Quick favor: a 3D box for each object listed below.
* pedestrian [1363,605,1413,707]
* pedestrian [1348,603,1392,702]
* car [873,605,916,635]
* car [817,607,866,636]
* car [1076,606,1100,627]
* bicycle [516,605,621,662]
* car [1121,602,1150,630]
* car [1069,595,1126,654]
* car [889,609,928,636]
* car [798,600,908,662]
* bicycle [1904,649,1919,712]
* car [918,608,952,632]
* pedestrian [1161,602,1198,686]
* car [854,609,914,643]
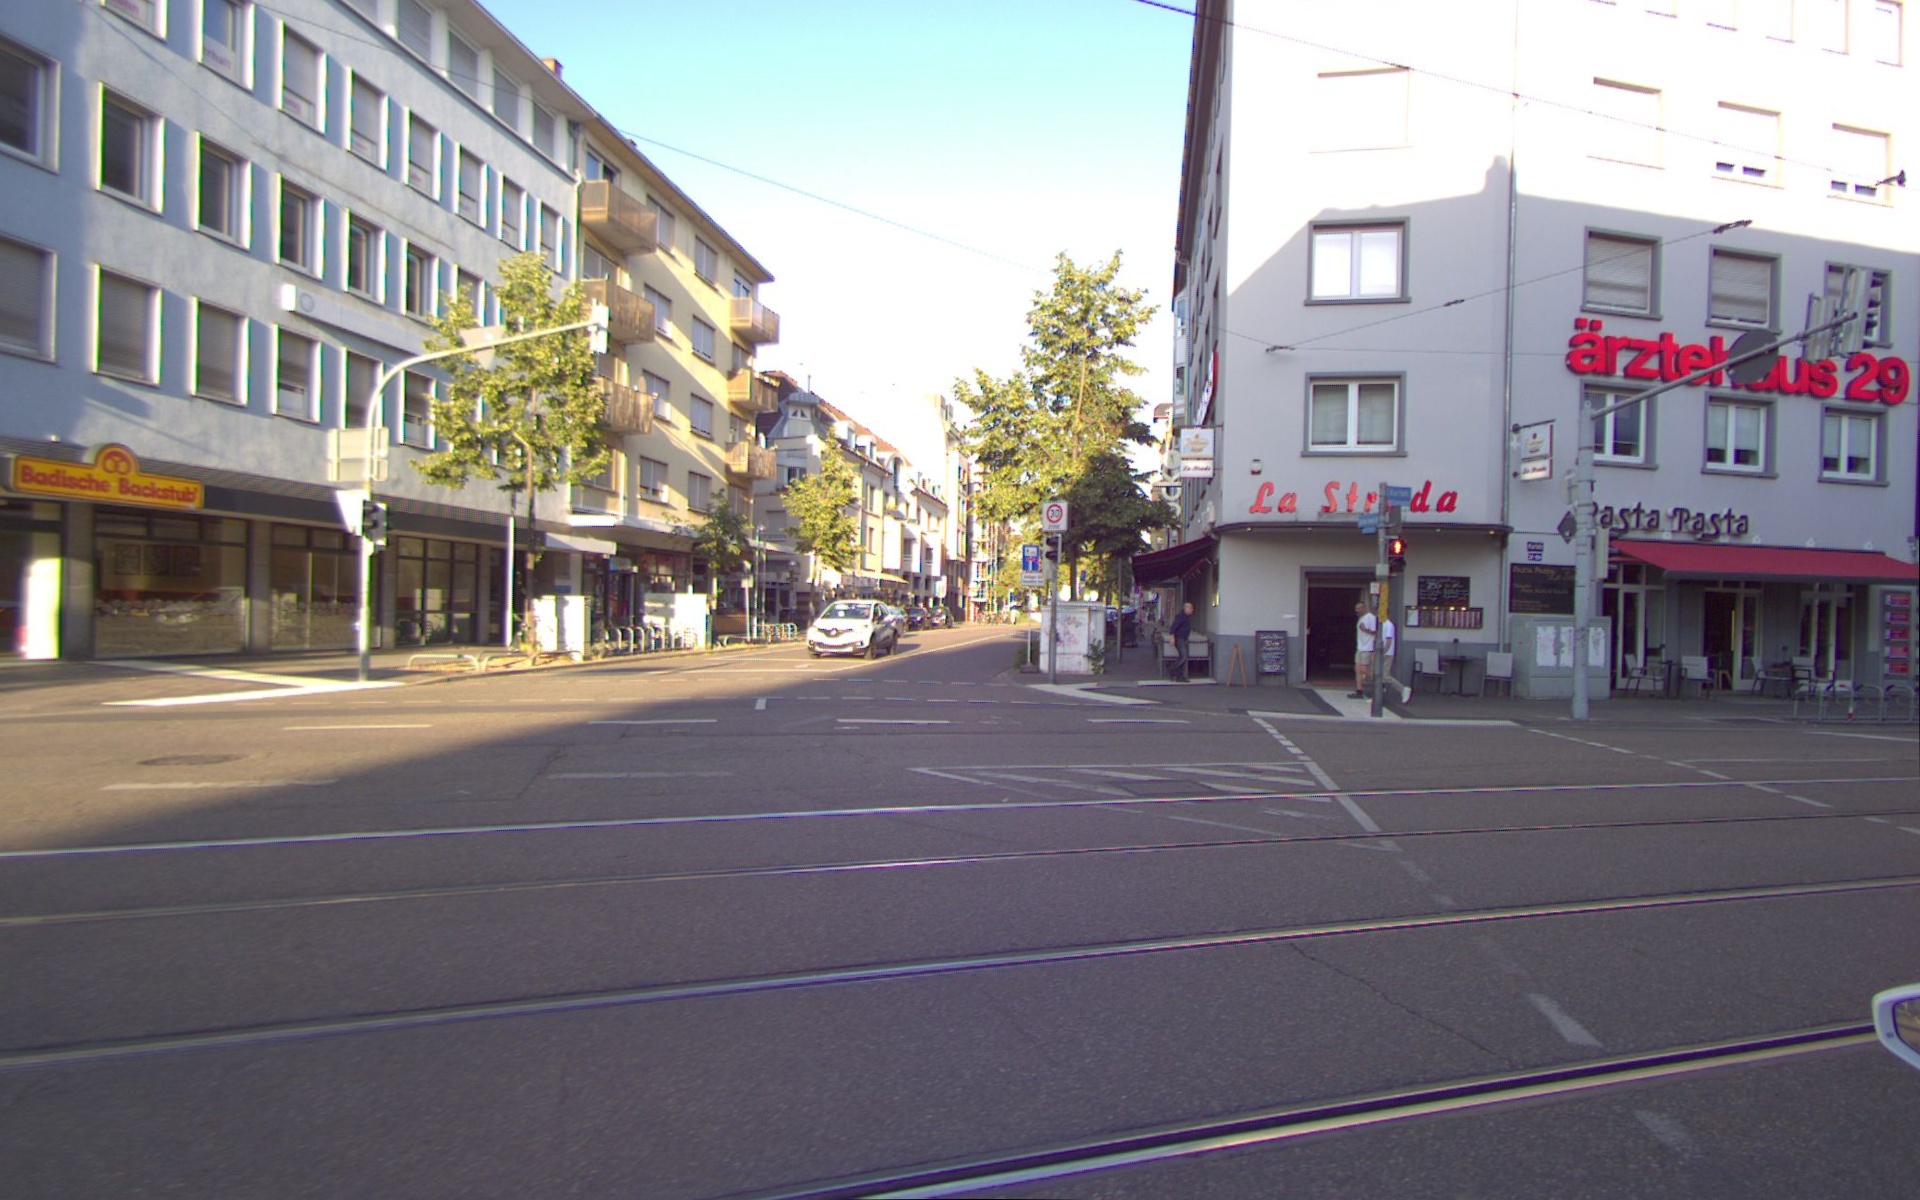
[{"bbox_3d":[7.633,0.980,17.936,0.655,1.768,0.639,1,0,9],"label":"pedestrian"},{"bbox_3d":[7.622,0.959,18.693,0.588,1.802,0.639,1,0,9],"label":"pedestrian"},{"bbox_3d":[-3.587,1.111,55.620,1.636,1.574,3.499,1,0,9],"label":"car"},{"bbox_3d":[-6.581,1.194,56.109,1.803,1.577,3.782,0,-1,8],"label":"car"},{"bbox_3d":[12.138,1.551,95.078,1.820,1.817,4.002,3,0,13],"label":"car"},{"bbox_3d":[-9.706,0.822,24.915,2.327,1.269,0.640,3,0,6],"label":"bicycle"},{"bbox_3d":[12.671,1.116,72.370,1.820,1.818,4.002,2,1,13],"label":"car"},{"bbox_3d":[4.980,0.847,36.047,1.612,1.898,3.609,4,1,13],"label":"car"},{"bbox_3d":[-3.106,1.338,61.222,1.636,1.574,3.499,1,0,9],"label":"car"},{"bbox_3d":[-2.864,0.841,27.783,2.072,1.577,4.016,0,-1,8],"label":"car"},{"bbox_3d":[19.381,1.627,19.222,0.543,1.227,1.892,1,2,-13],"label":"bicycle"},{"bbox_3d":[-1.669,1.364,68.310,1.636,1.574,3.499,1,0,10],"label":"car"},{"bbox_3d":[4.555,0.908,20.886,0.689,1.699,0.714,1,0,11],"label":"pedestrian"},{"bbox_3d":[-3.240,1.116,43.770,1.819,1.368,3.813,2,0,8],"label":"car"}]
